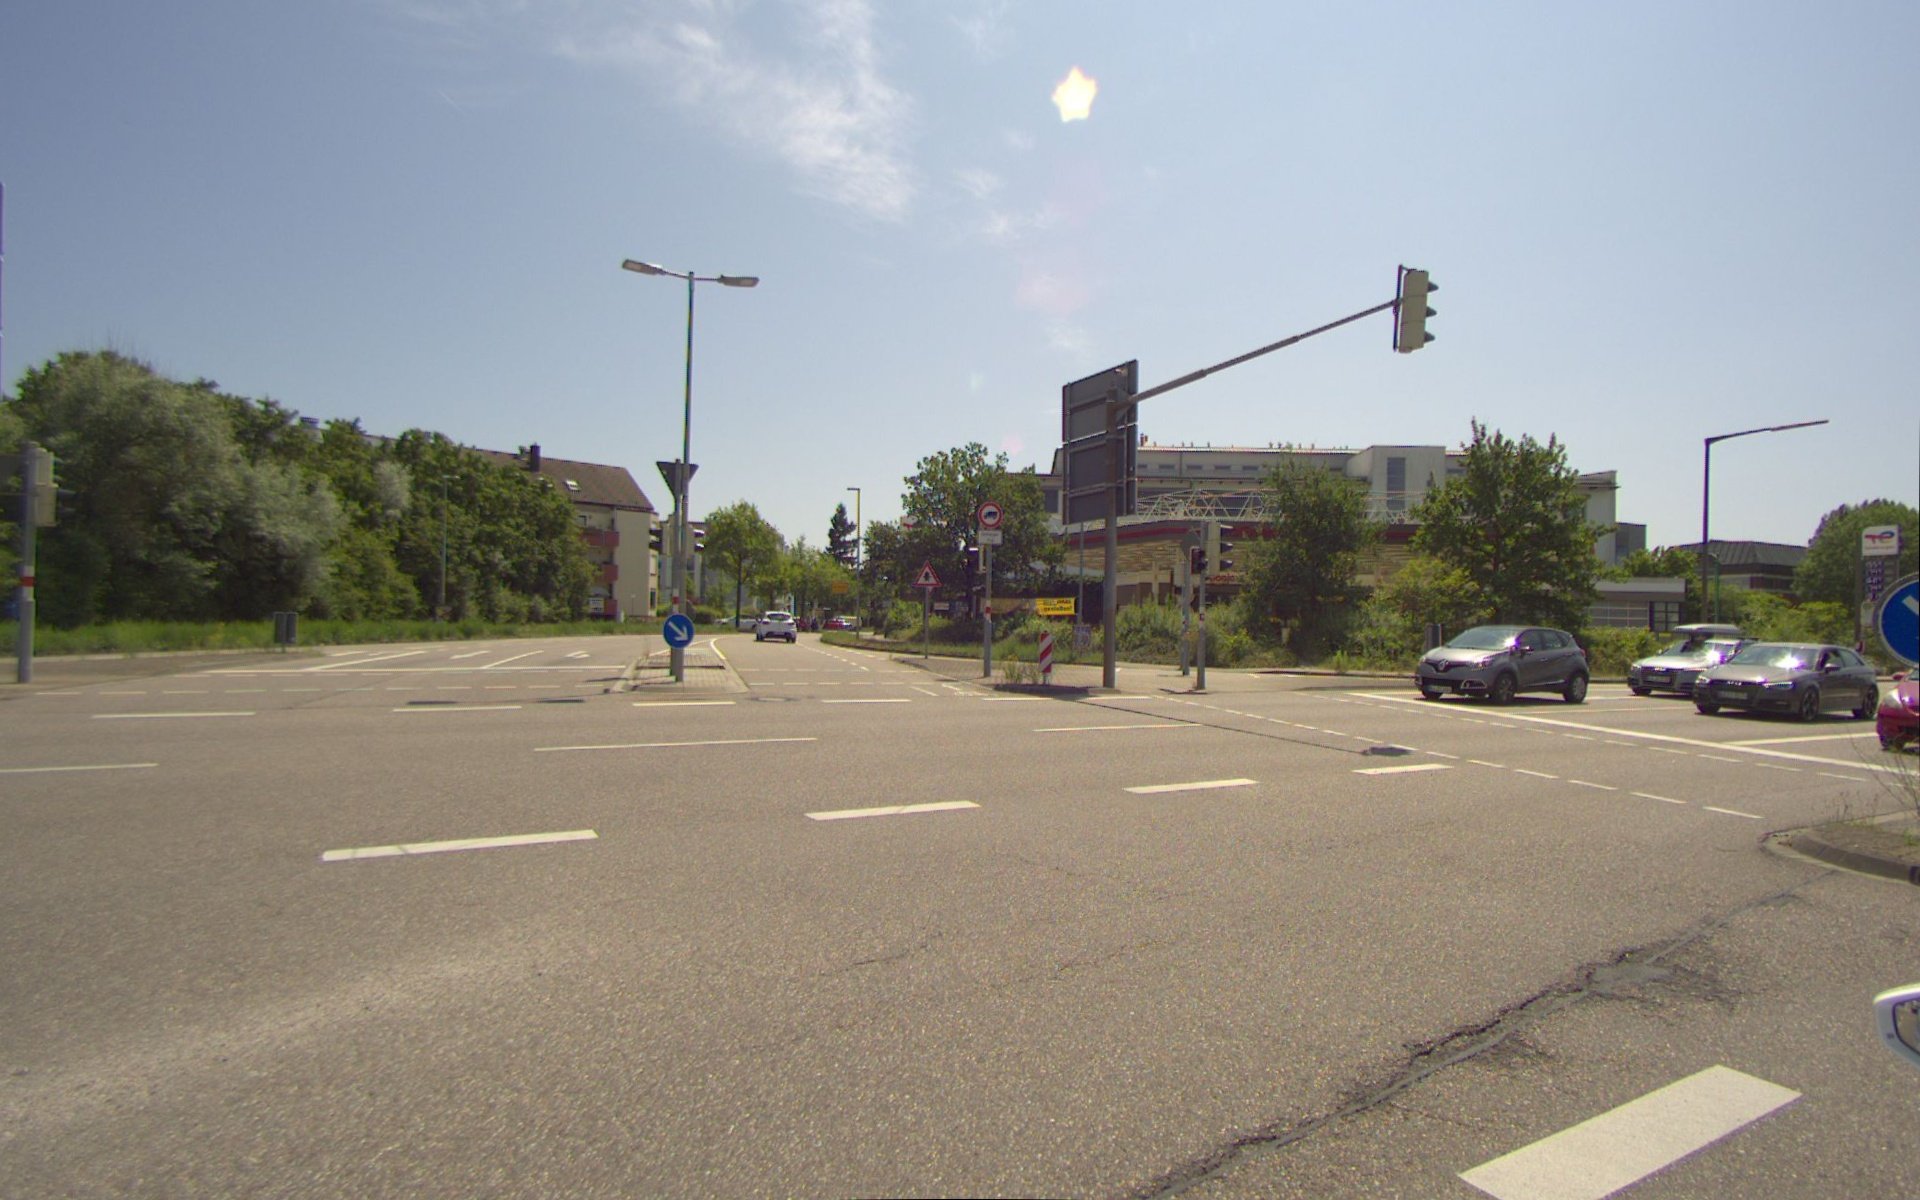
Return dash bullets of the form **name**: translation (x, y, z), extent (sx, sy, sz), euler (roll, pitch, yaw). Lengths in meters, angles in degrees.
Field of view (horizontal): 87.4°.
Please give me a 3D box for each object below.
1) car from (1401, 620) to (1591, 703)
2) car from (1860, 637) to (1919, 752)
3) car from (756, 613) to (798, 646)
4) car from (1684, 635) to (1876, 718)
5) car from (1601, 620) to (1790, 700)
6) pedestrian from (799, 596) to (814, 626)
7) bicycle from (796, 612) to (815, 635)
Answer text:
- **car**: translation (11.200, 1.256, 20.932), extent (3.953, 1.560, 1.650), euler (2, -1, -30)
- **car**: translation (14.514, 1.322, 14.129), extent (3.953, 1.510, 1.650), euler (2, -1, -30)
- **car**: translation (-8.870, 1.404, 48.412), extent (1.797, 1.468, 3.819), euler (2, -2, -12)
- **car**: translation (15.899, 1.434, 19.445), extent (3.957, 1.403, 1.589), euler (2, 0, -30)
- **car**: translation (18.197, 1.450, 24.790), extent (4.963, 1.773, 1.955), euler (2, -1, -30)
- **pedestrian**: translation (-14.276, 1.062, 93.392), extent (0.864, 2.751, 1.518), euler (2, 0, 9)
- **bicycle**: translation (-14.316, 2.199, 93.049), extent (0.876, 2.040, 3.196), euler (1, -1, 7)
